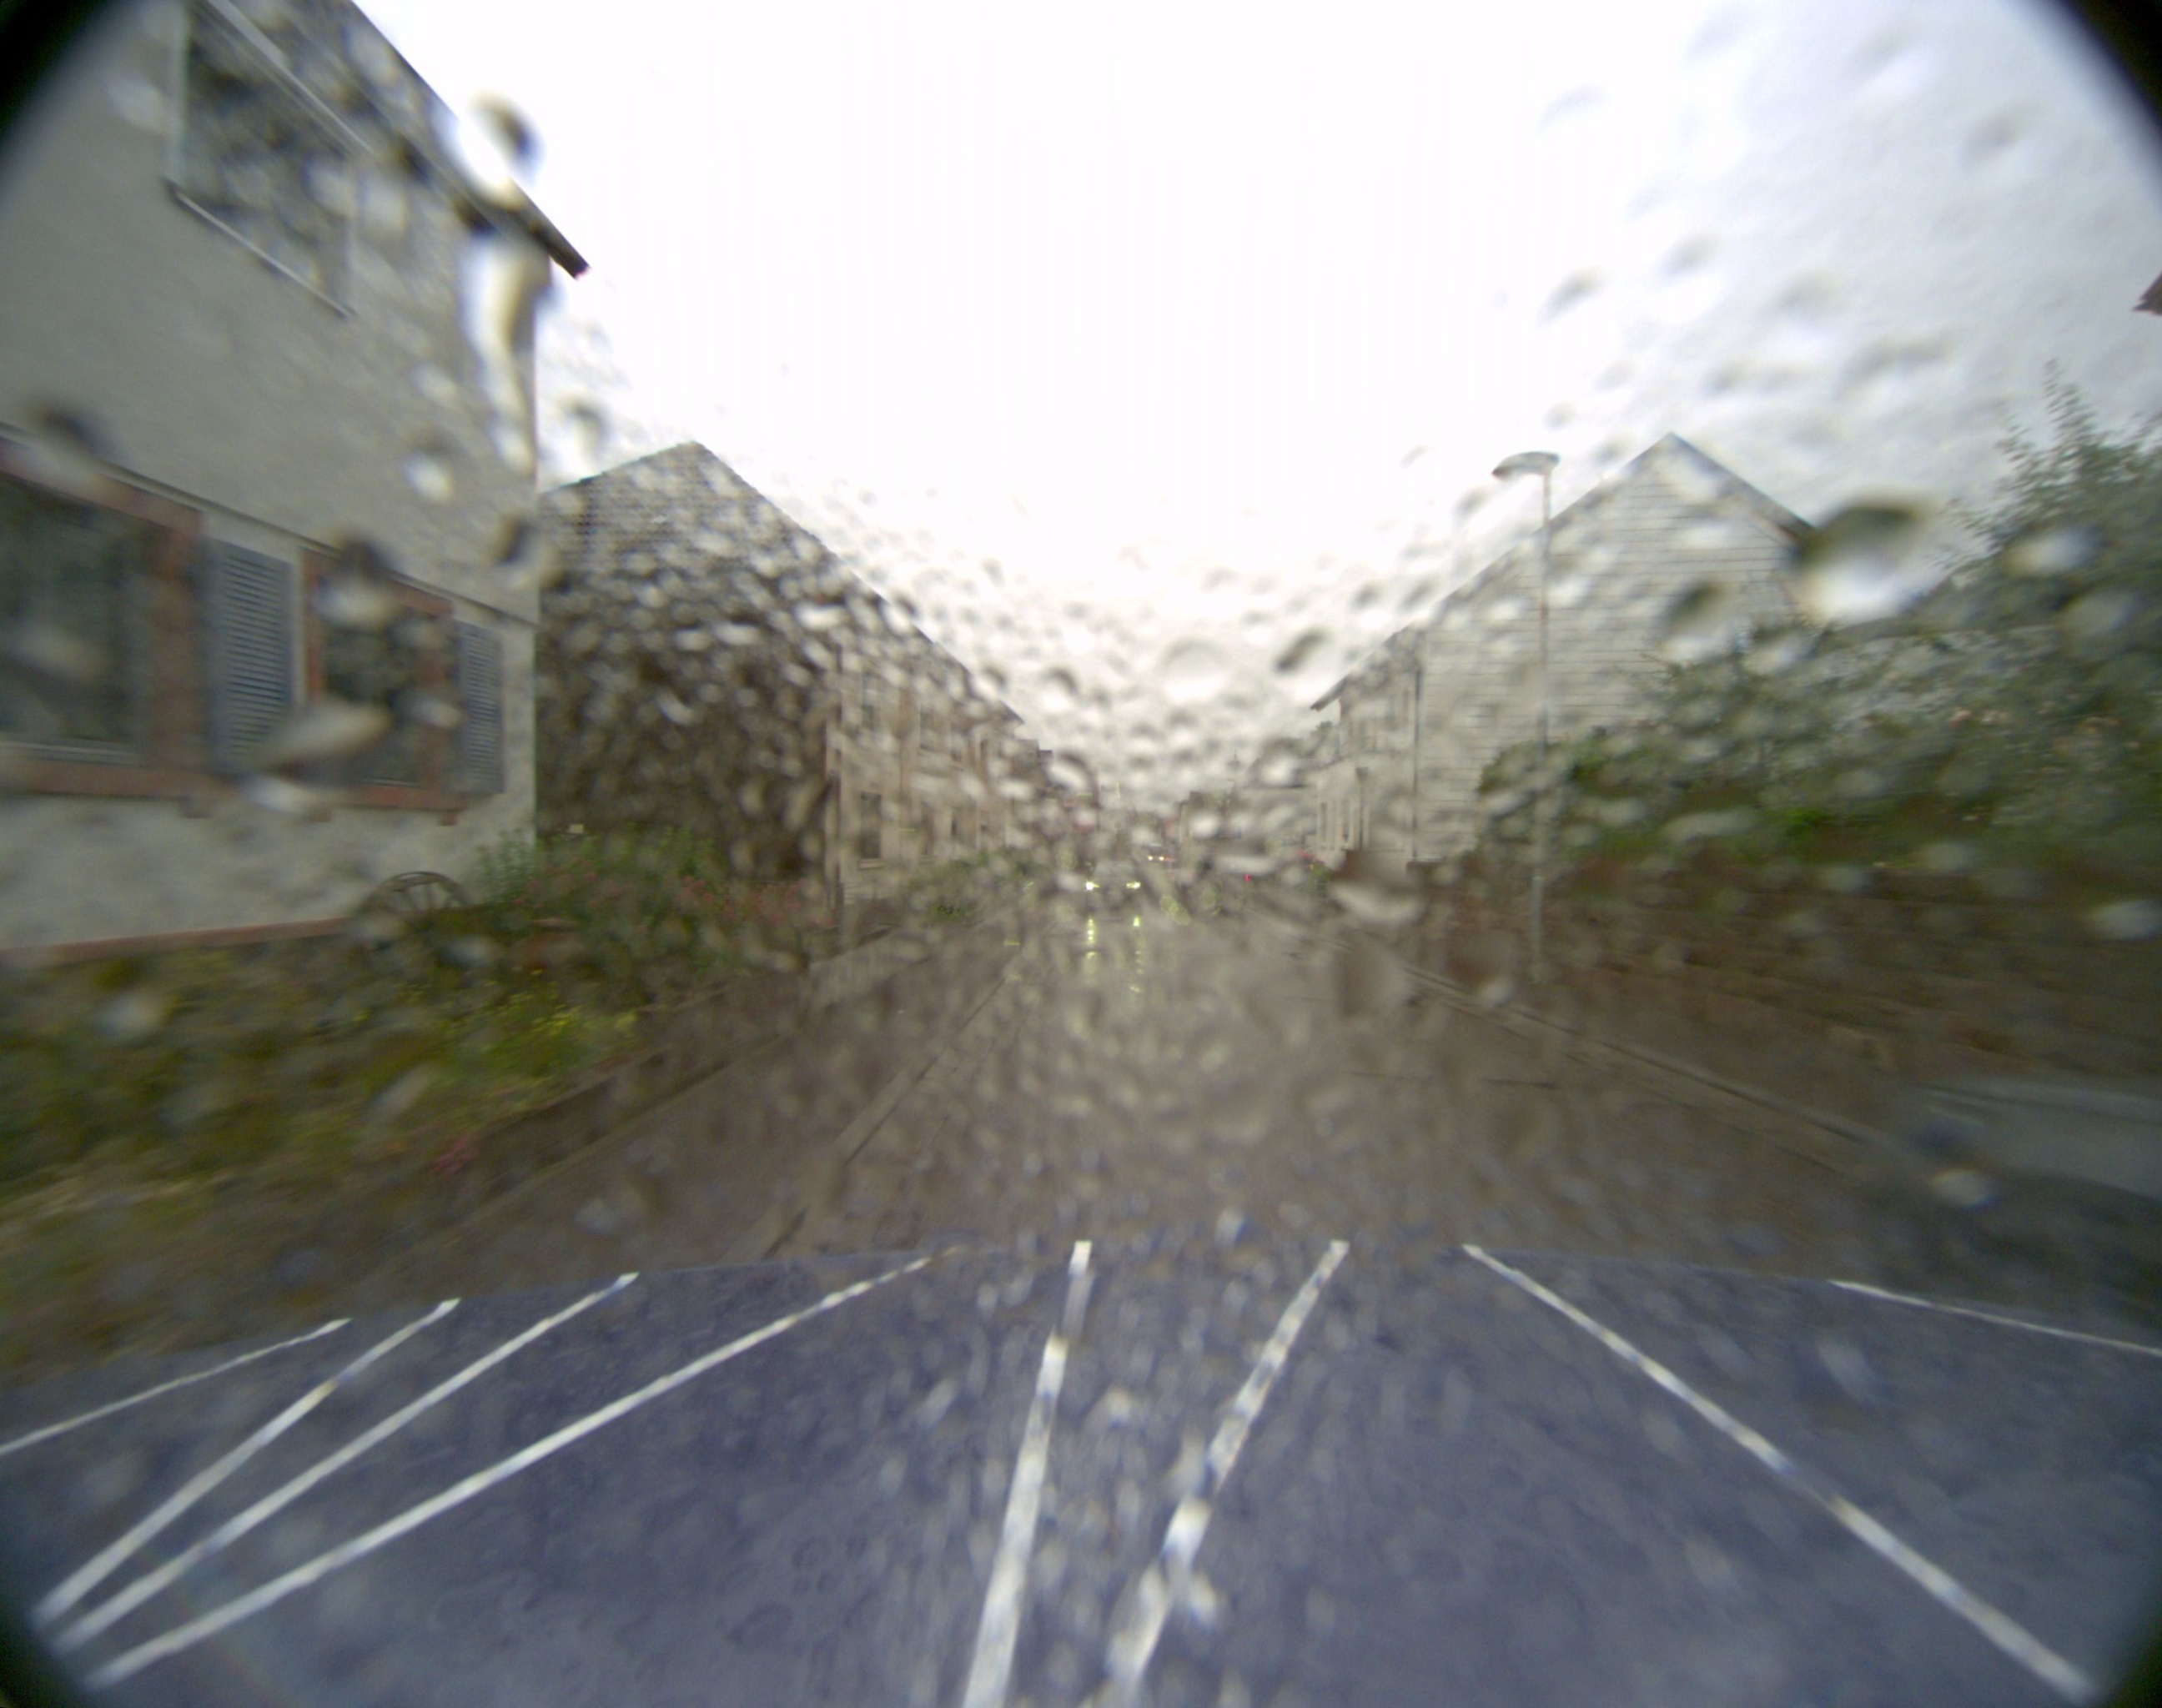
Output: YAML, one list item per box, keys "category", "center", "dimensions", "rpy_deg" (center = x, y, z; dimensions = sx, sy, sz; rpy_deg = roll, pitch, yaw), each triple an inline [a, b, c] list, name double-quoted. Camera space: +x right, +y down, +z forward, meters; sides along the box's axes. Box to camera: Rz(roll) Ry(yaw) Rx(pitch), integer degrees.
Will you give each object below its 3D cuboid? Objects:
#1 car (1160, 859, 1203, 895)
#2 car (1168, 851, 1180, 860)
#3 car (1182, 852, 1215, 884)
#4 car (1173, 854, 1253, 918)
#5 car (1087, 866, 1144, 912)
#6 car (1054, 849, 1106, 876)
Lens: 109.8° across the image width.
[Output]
- category: "car"
  center: [4.432, 0.991, 33.883]
  dimensions: [1.583, 1.472, 3.717]
  rpy_deg: [2, 0, 3]
- category: "car"
  center: [15.492, 0.243, 126.317]
  dimensions: [1.859, 1.497, 4.163]
  rpy_deg: [1, 1, 7]
- category: "car"
  center: [6.879, 0.784, 44.639]
  dimensions: [1.814, 1.674, 4.186]
  rpy_deg: [1, 1, 8]
- category: "car"
  center: [4.019, 0.895, 23.902]
  dimensions: [1.838, 1.663, 5.197]
  rpy_deg: [1, 1, 3]
- category: "car"
  center: [1.081, 1.098, 24.739]
  dimensions: [1.667, 1.290, 3.518]
  rpy_deg: [-2, 0, 1]
- category: "car"
  center: [-0.107, 0.542, 48.744]
  dimensions: [1.893, 1.566, 3.883]
  rpy_deg: [-3, 1, -24]
